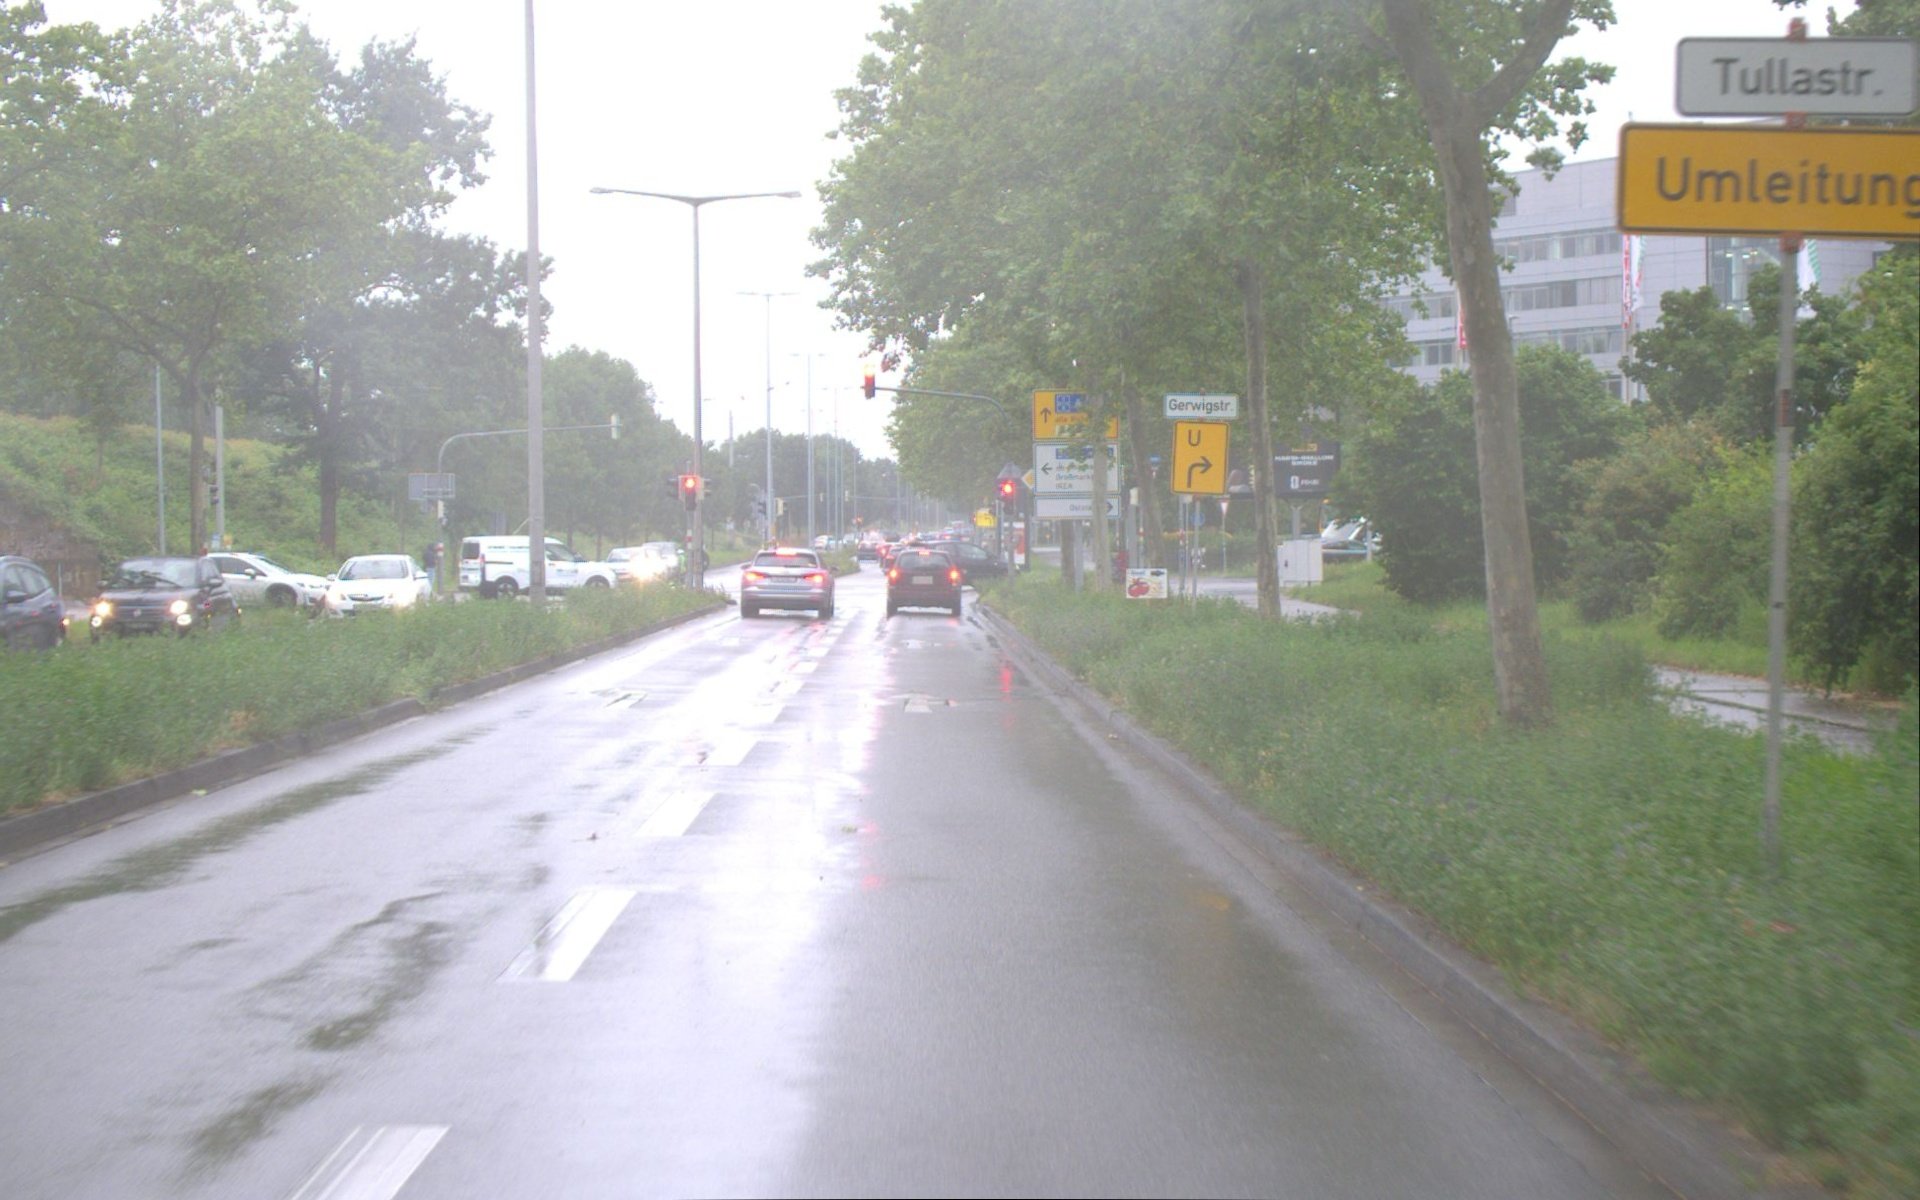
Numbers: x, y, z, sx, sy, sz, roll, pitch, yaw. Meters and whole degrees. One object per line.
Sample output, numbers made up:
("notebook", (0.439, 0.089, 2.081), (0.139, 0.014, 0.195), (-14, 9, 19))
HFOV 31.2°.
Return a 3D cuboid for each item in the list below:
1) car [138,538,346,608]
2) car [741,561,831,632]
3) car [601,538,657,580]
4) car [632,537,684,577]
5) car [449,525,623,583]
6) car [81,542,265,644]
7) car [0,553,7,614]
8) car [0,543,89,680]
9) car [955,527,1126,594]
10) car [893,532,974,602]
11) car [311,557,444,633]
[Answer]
("car", (-17.071, -0.646, 81.877), (4.504, 1.583, 1.863), (-1, 1, 2))
("car", (-3.628, -0.096, 72.426), (1.690, 1.428, 4.574), (0, 1, 0))
("car", (-12.221, -1.520, 127.212), (1.712, 1.525, 4.000), (-1, 1, 0))
("car", (-11.801, -1.683, 134.491), (1.712, 1.525, 4.000), (-1, 1, 0))
("car", (-11.607, -1.265, 94.234), (4.372, 1.532, 1.802), (-1, 1, -29))
("car", (-11.634, -0.125, 51.034), (1.931, 1.440, 3.708), (0, 1, -1))
("car", (-26.251, -0.420, 85.915), (4.372, 1.532, 1.802), (0, 1, -29))
("car", (-11.195, 0.090, 38.245), (1.931, 1.440, 4.497), (0, 1, -1))
("car", (2.131, -1.062, 90.305), (4.375, 1.531, 1.801), (-4, 4, -40))
("car", (-0.611, -0.771, 79.124), (1.796, 1.532, 4.387), (1, 1, 0))
("car", (-11.612, -0.122, 68.753), (1.931, 1.440, 4.658), (0, 1, -1))
